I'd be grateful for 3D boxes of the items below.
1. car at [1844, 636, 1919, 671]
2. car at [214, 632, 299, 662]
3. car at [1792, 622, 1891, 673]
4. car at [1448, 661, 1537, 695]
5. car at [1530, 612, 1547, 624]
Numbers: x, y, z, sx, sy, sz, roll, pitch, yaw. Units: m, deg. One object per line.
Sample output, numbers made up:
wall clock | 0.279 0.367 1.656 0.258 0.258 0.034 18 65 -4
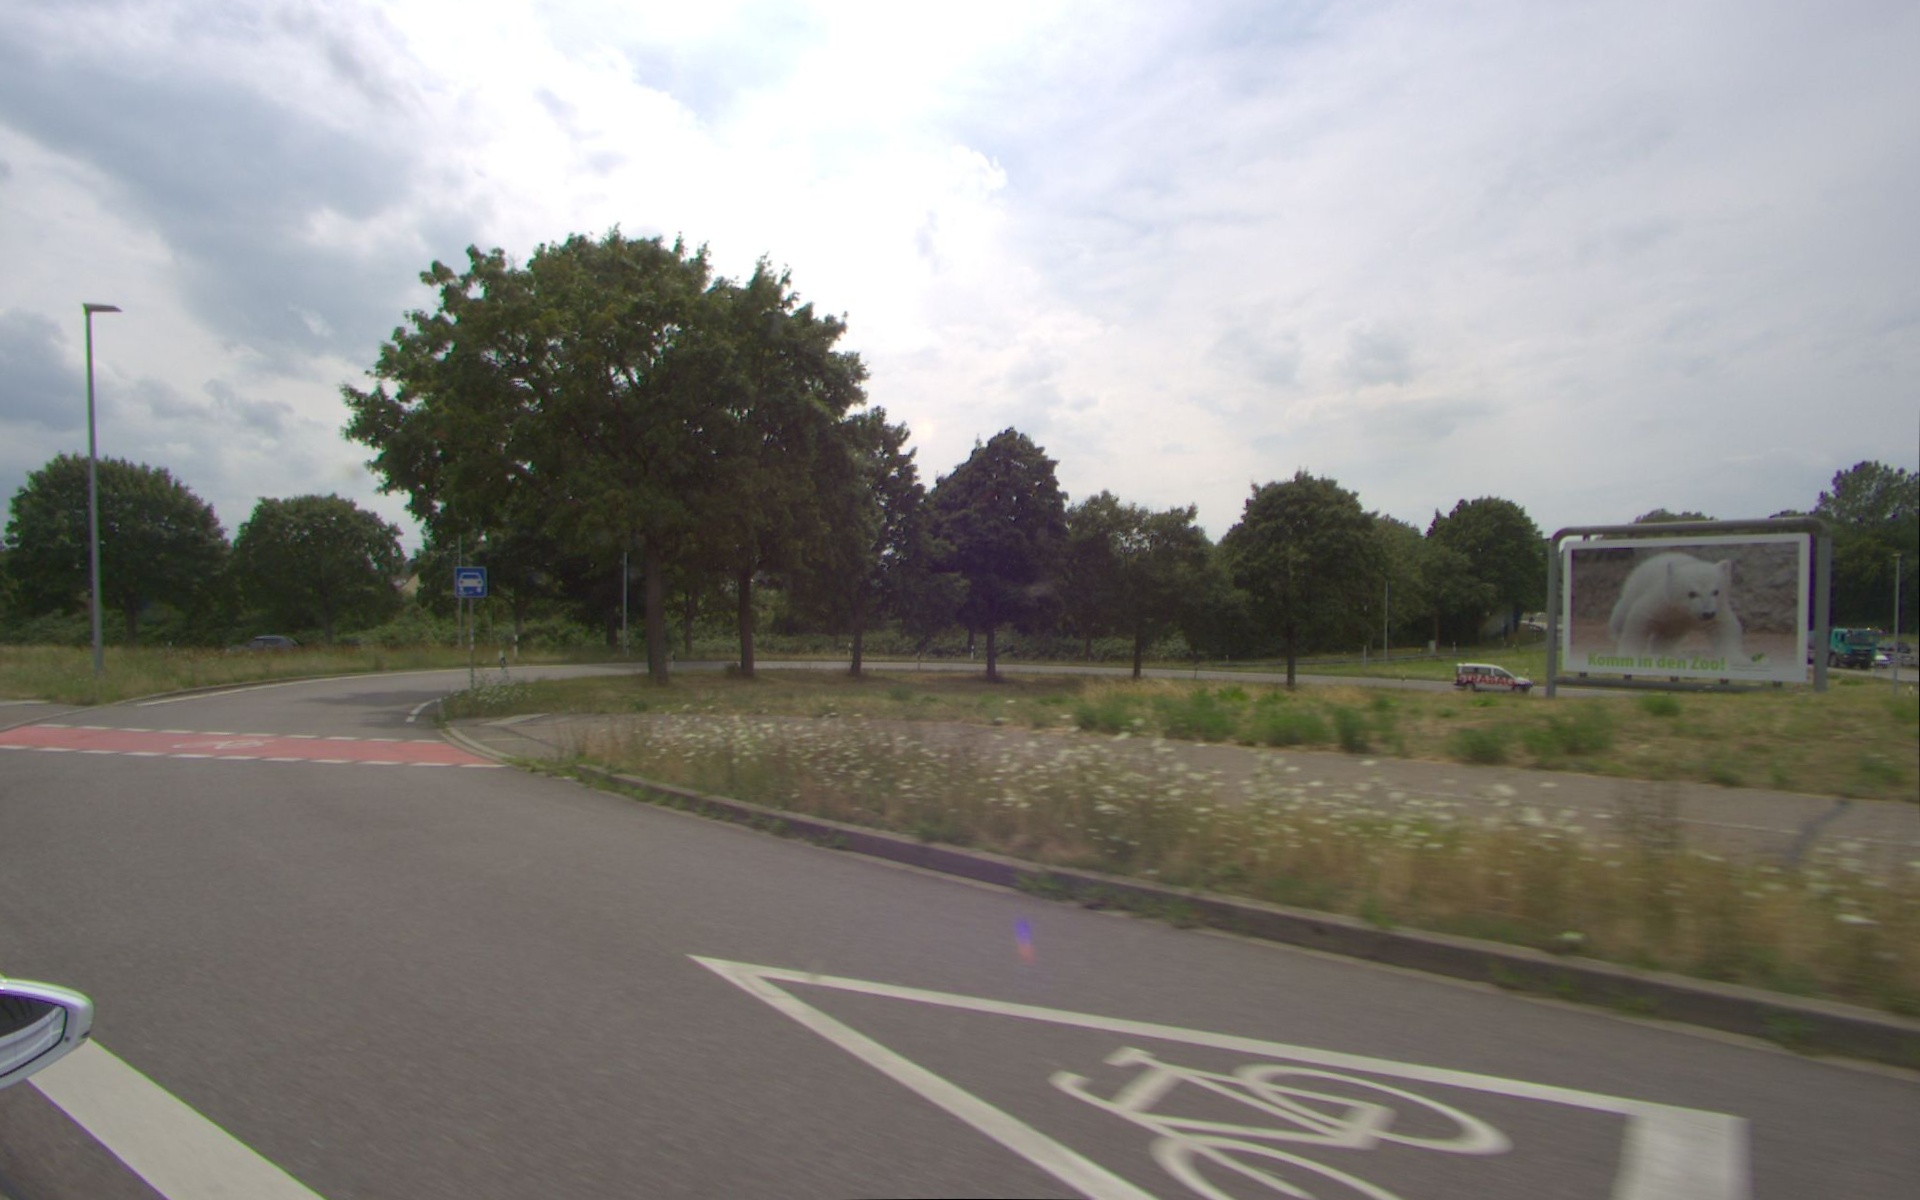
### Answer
car | 79.308 4.554 85.969 2.512 2.693 6.085 0 0 14
car | -42.181 2.818 60.140 3.942 1.690 1.700 1 -1 -29
car | 74.981 3.964 85.416 3.283 3.948 7.501 1 0 15
car | 36.355 5.309 68.518 5.161 2.040 1.994 0 0 23
car | 130.324 4.012 225.471 2.043 2.524 4.358 0 0 12
